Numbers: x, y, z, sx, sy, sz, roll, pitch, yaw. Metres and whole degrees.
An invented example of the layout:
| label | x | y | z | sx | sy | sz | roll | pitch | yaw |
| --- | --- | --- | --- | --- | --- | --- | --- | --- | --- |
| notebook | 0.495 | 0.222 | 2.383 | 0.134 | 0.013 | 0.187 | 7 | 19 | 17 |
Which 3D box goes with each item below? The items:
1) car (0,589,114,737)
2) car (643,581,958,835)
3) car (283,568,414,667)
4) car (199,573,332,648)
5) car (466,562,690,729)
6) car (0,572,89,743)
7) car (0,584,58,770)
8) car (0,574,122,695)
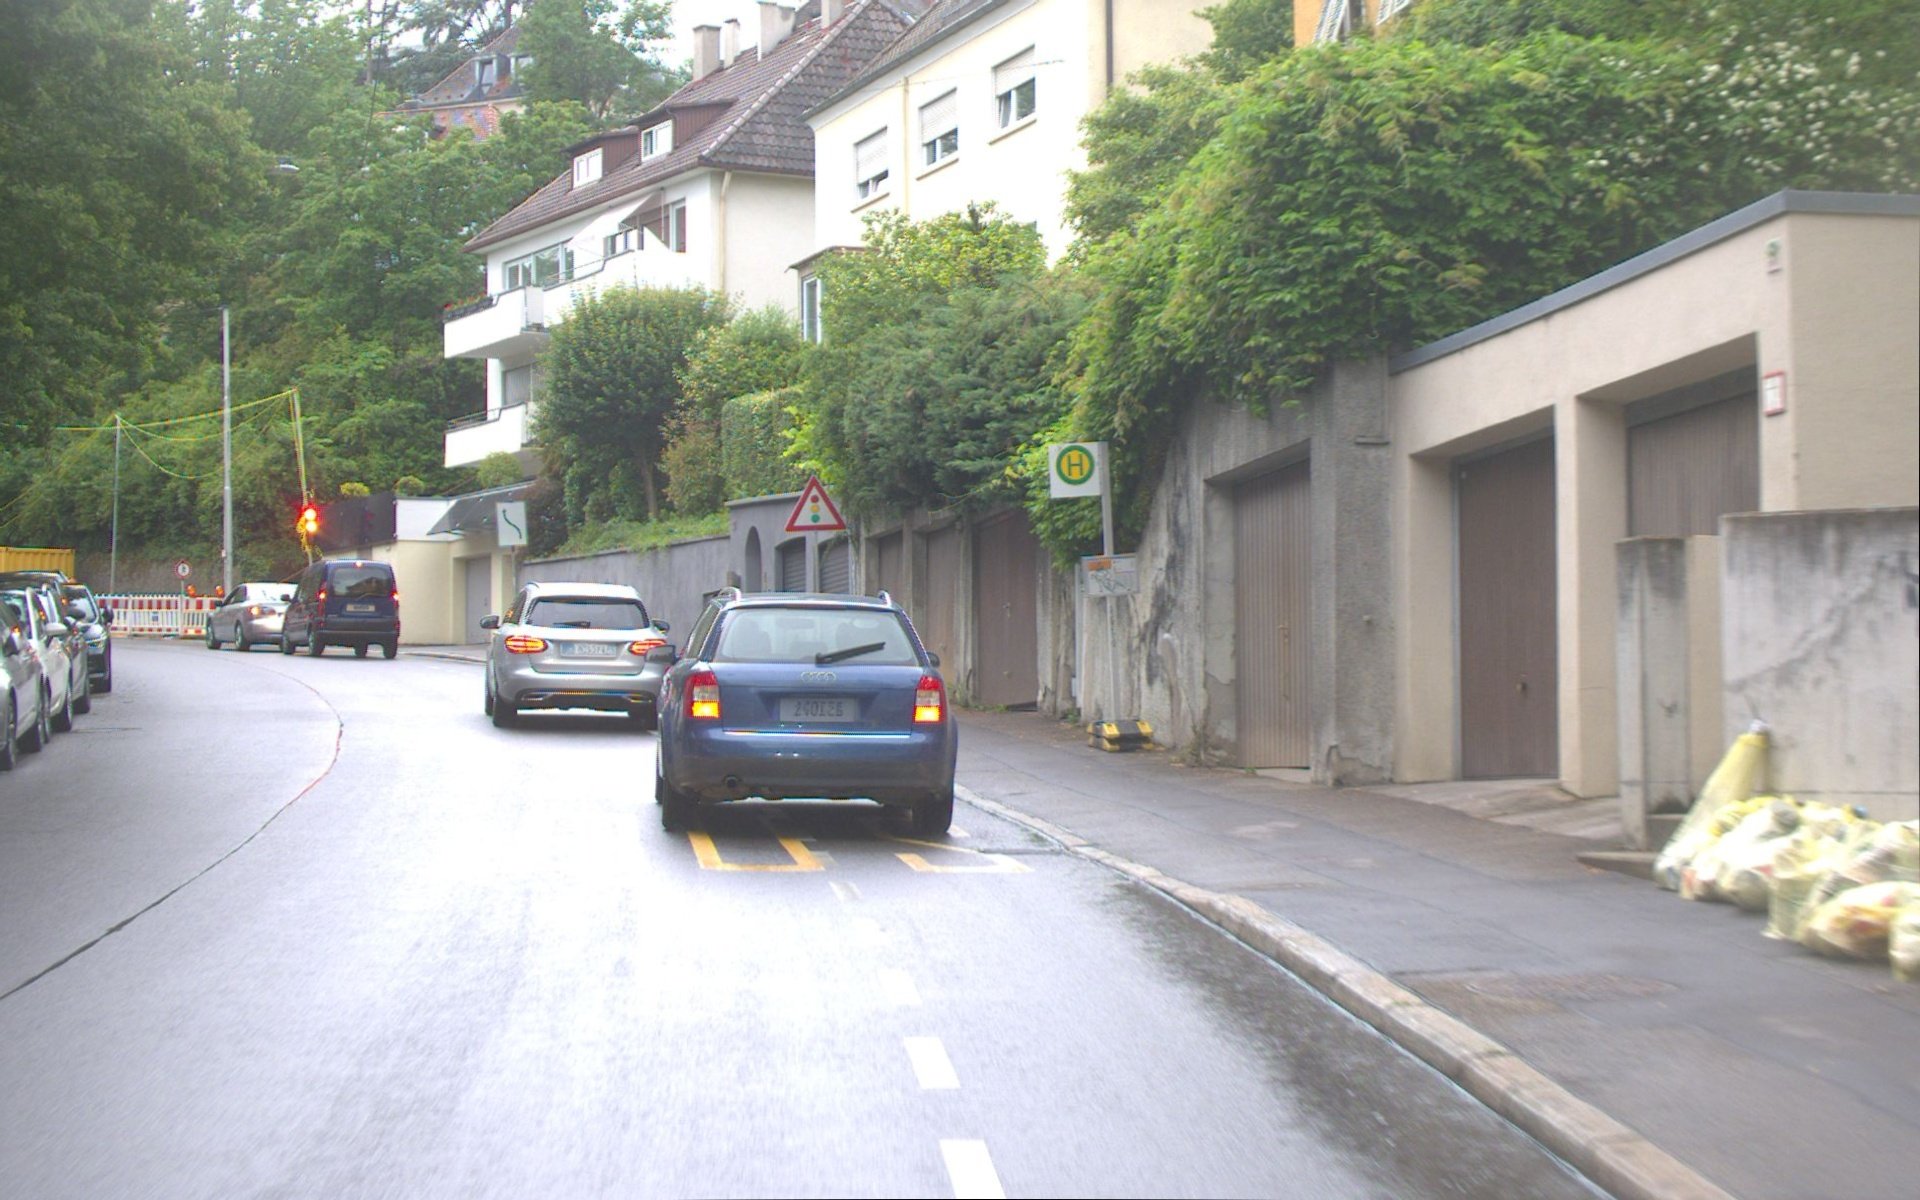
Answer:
| label | x | y | z | sx | sy | sz | roll | pitch | yaw |
| --- | --- | --- | --- | --- | --- | --- | --- | --- | --- |
| car | -10.400 | 0.684 | 37.945 | 1.664 | 1.483 | 4.476 | -4 | 0 | -10 |
| car | -0.942 | 0.602 | 21.546 | 1.786 | 1.437 | 3.964 | 0 | 0 | -1 |
| car | -11.695 | 0.308 | 65.574 | 1.993 | 1.787 | 4.001 | -1 | 1 | -17 |
| car | -14.355 | 0.191 | 70.946 | 1.720 | 1.481 | 4.077 | -1 | 1 | -25 |
| car | -4.051 | 0.424 | 35.881 | 1.925 | 1.612 | 4.322 | 1 | 1 | -11 |
| car | -9.280 | 0.536 | 32.763 | 1.574 | 1.483 | 3.471 | -4 | 2 | -10 |
| car | -8.636 | 0.656 | 28.908 | 1.617 | 1.465 | 3.973 | -3 | 0 | -10 |
| car | -12.204 | 0.459 | 46.461 | 1.555 | 1.483 | 4.099 | -4 | 0 | -13 |
